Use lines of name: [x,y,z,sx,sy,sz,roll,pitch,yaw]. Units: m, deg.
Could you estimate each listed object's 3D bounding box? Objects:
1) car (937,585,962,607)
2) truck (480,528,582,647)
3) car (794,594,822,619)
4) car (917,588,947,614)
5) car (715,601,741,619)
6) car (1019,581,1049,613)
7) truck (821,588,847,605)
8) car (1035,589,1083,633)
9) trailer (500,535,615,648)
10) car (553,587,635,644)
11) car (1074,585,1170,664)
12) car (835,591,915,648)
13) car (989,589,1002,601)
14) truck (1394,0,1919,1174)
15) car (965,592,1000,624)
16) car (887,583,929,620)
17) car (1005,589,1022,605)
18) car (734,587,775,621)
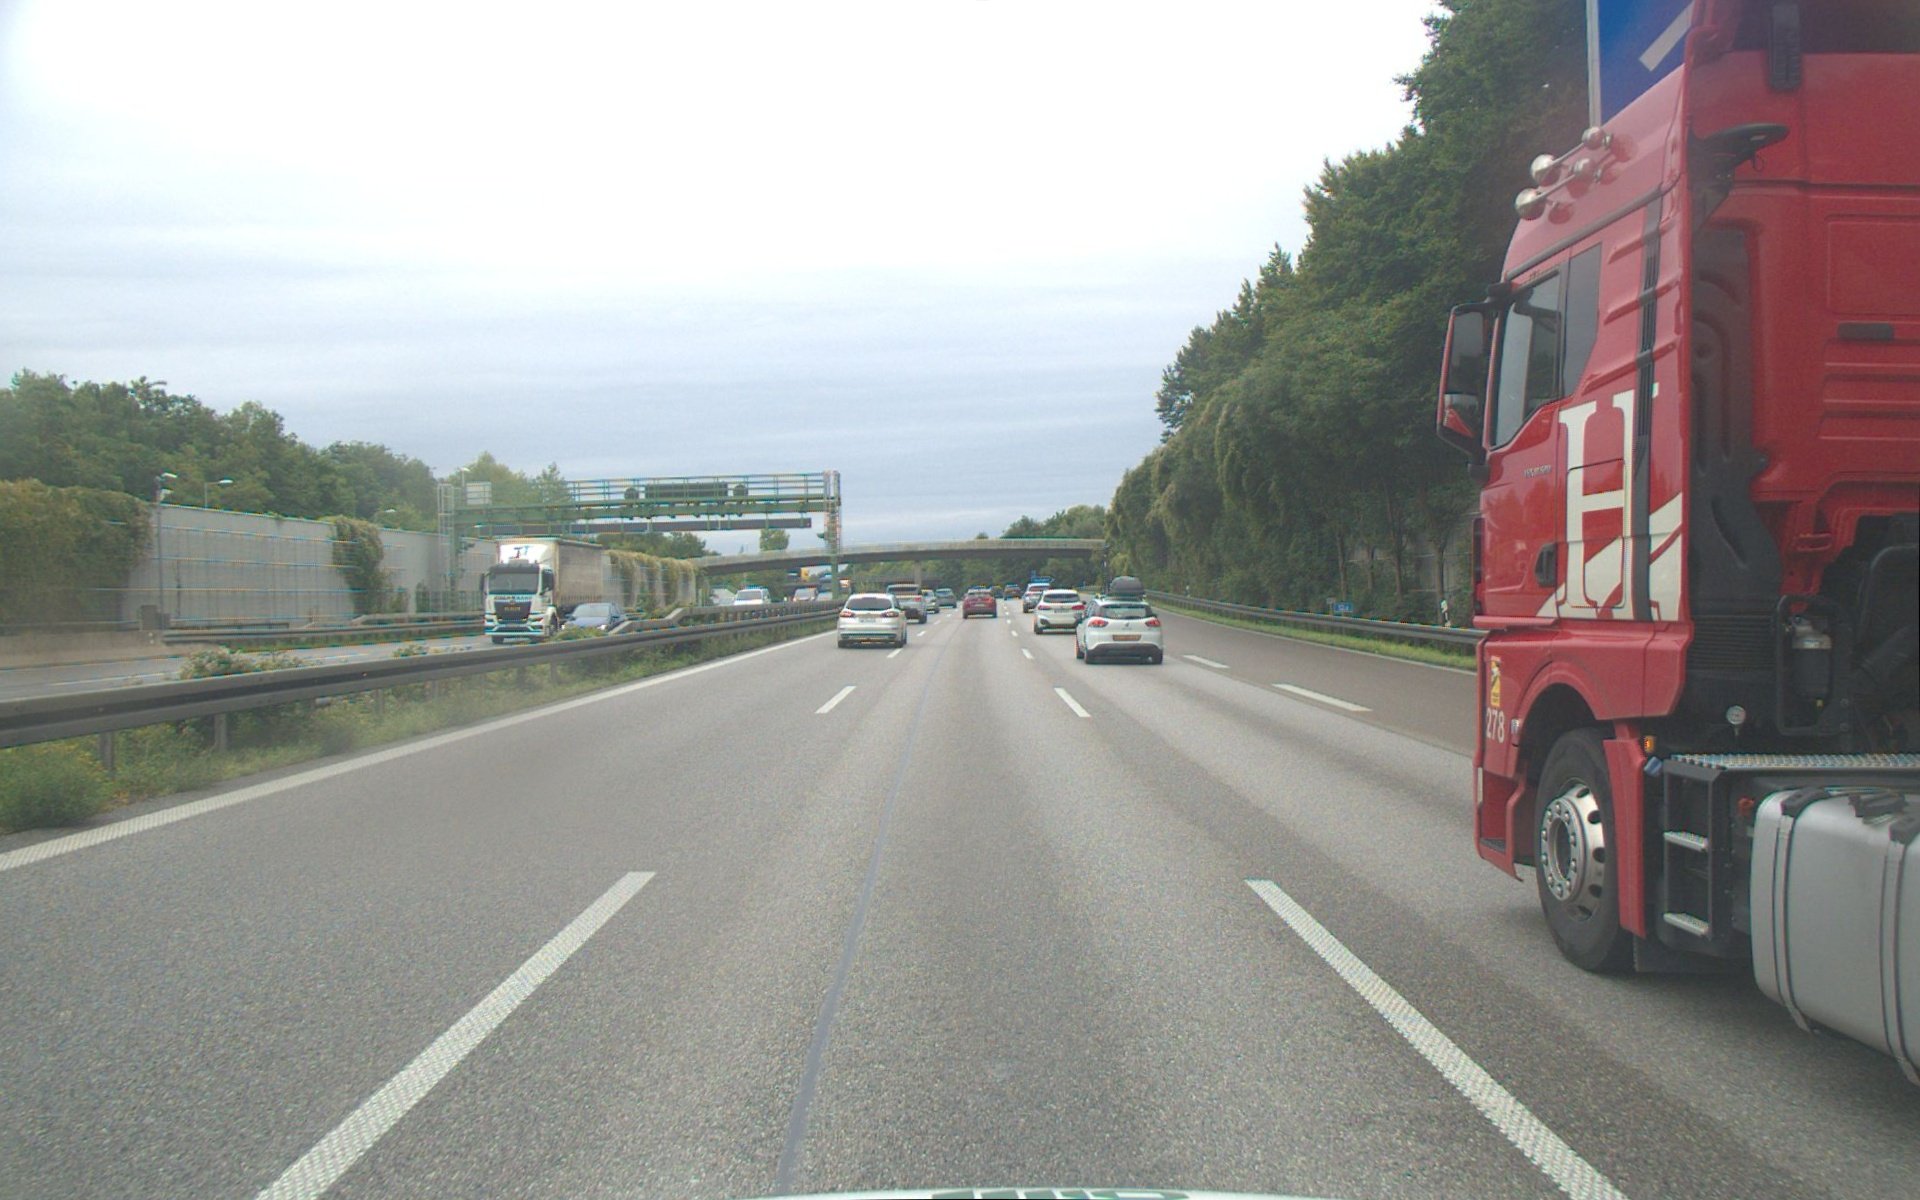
car: [-0.789,-0.329,125.763,1.654,1.532,3.872,4,0,2]
truck: [-17.055,-0.493,66.120,2.594,4.552,5.283,0,0,1]
car: [-12.515,0.546,136.347,1.953,2.049,3.999,0,-1,0]
car: [-1.750,0.042,103.807,1.654,1.533,3.872,-2,0,2]
car: [-20.882,0.911,149.186,1.755,1.646,3.999,0,-1,0]
car: [4.244,-0.179,94.811,1.654,1.811,3.872,0,0,2]
truck: [-15.544,-0.479,204.133,2.533,1.840,5.971,4,0,0]
car: [3.520,0.409,59.322,1.653,1.533,3.872,0,-1,2]
trailer: [-17.004,-0.348,70.455,2.613,4.522,8.574,0,0,1]
car: [-13.585,0.595,61.593,1.953,2.049,4.909,0,-1,0]
car: [3.587,0.548,37.478,1.778,1.654,5.030,0,-1,1]
car: [-2.350,0.547,46.855,1.852,1.530,5.031,0,0,1]
car: [4.634,-0.625,214.177,1.654,1.447,4.072,0,0,0]
truck: [3.868,-0.457,6.218,2.640,3.981,6.555,0,0,-1]
car: [1.146,0.393,86.151,1.654,1.532,3.871,4,0,0]
car: [-2.358,0.068,76.074,1.654,1.532,3.871,4,0,1]
car: [5.269,-0.311,163.753,1.654,1.566,3.872,0,0,2]
car: [-12.788,0.267,103.209,1.953,2.049,4.909,0,-1,0]
